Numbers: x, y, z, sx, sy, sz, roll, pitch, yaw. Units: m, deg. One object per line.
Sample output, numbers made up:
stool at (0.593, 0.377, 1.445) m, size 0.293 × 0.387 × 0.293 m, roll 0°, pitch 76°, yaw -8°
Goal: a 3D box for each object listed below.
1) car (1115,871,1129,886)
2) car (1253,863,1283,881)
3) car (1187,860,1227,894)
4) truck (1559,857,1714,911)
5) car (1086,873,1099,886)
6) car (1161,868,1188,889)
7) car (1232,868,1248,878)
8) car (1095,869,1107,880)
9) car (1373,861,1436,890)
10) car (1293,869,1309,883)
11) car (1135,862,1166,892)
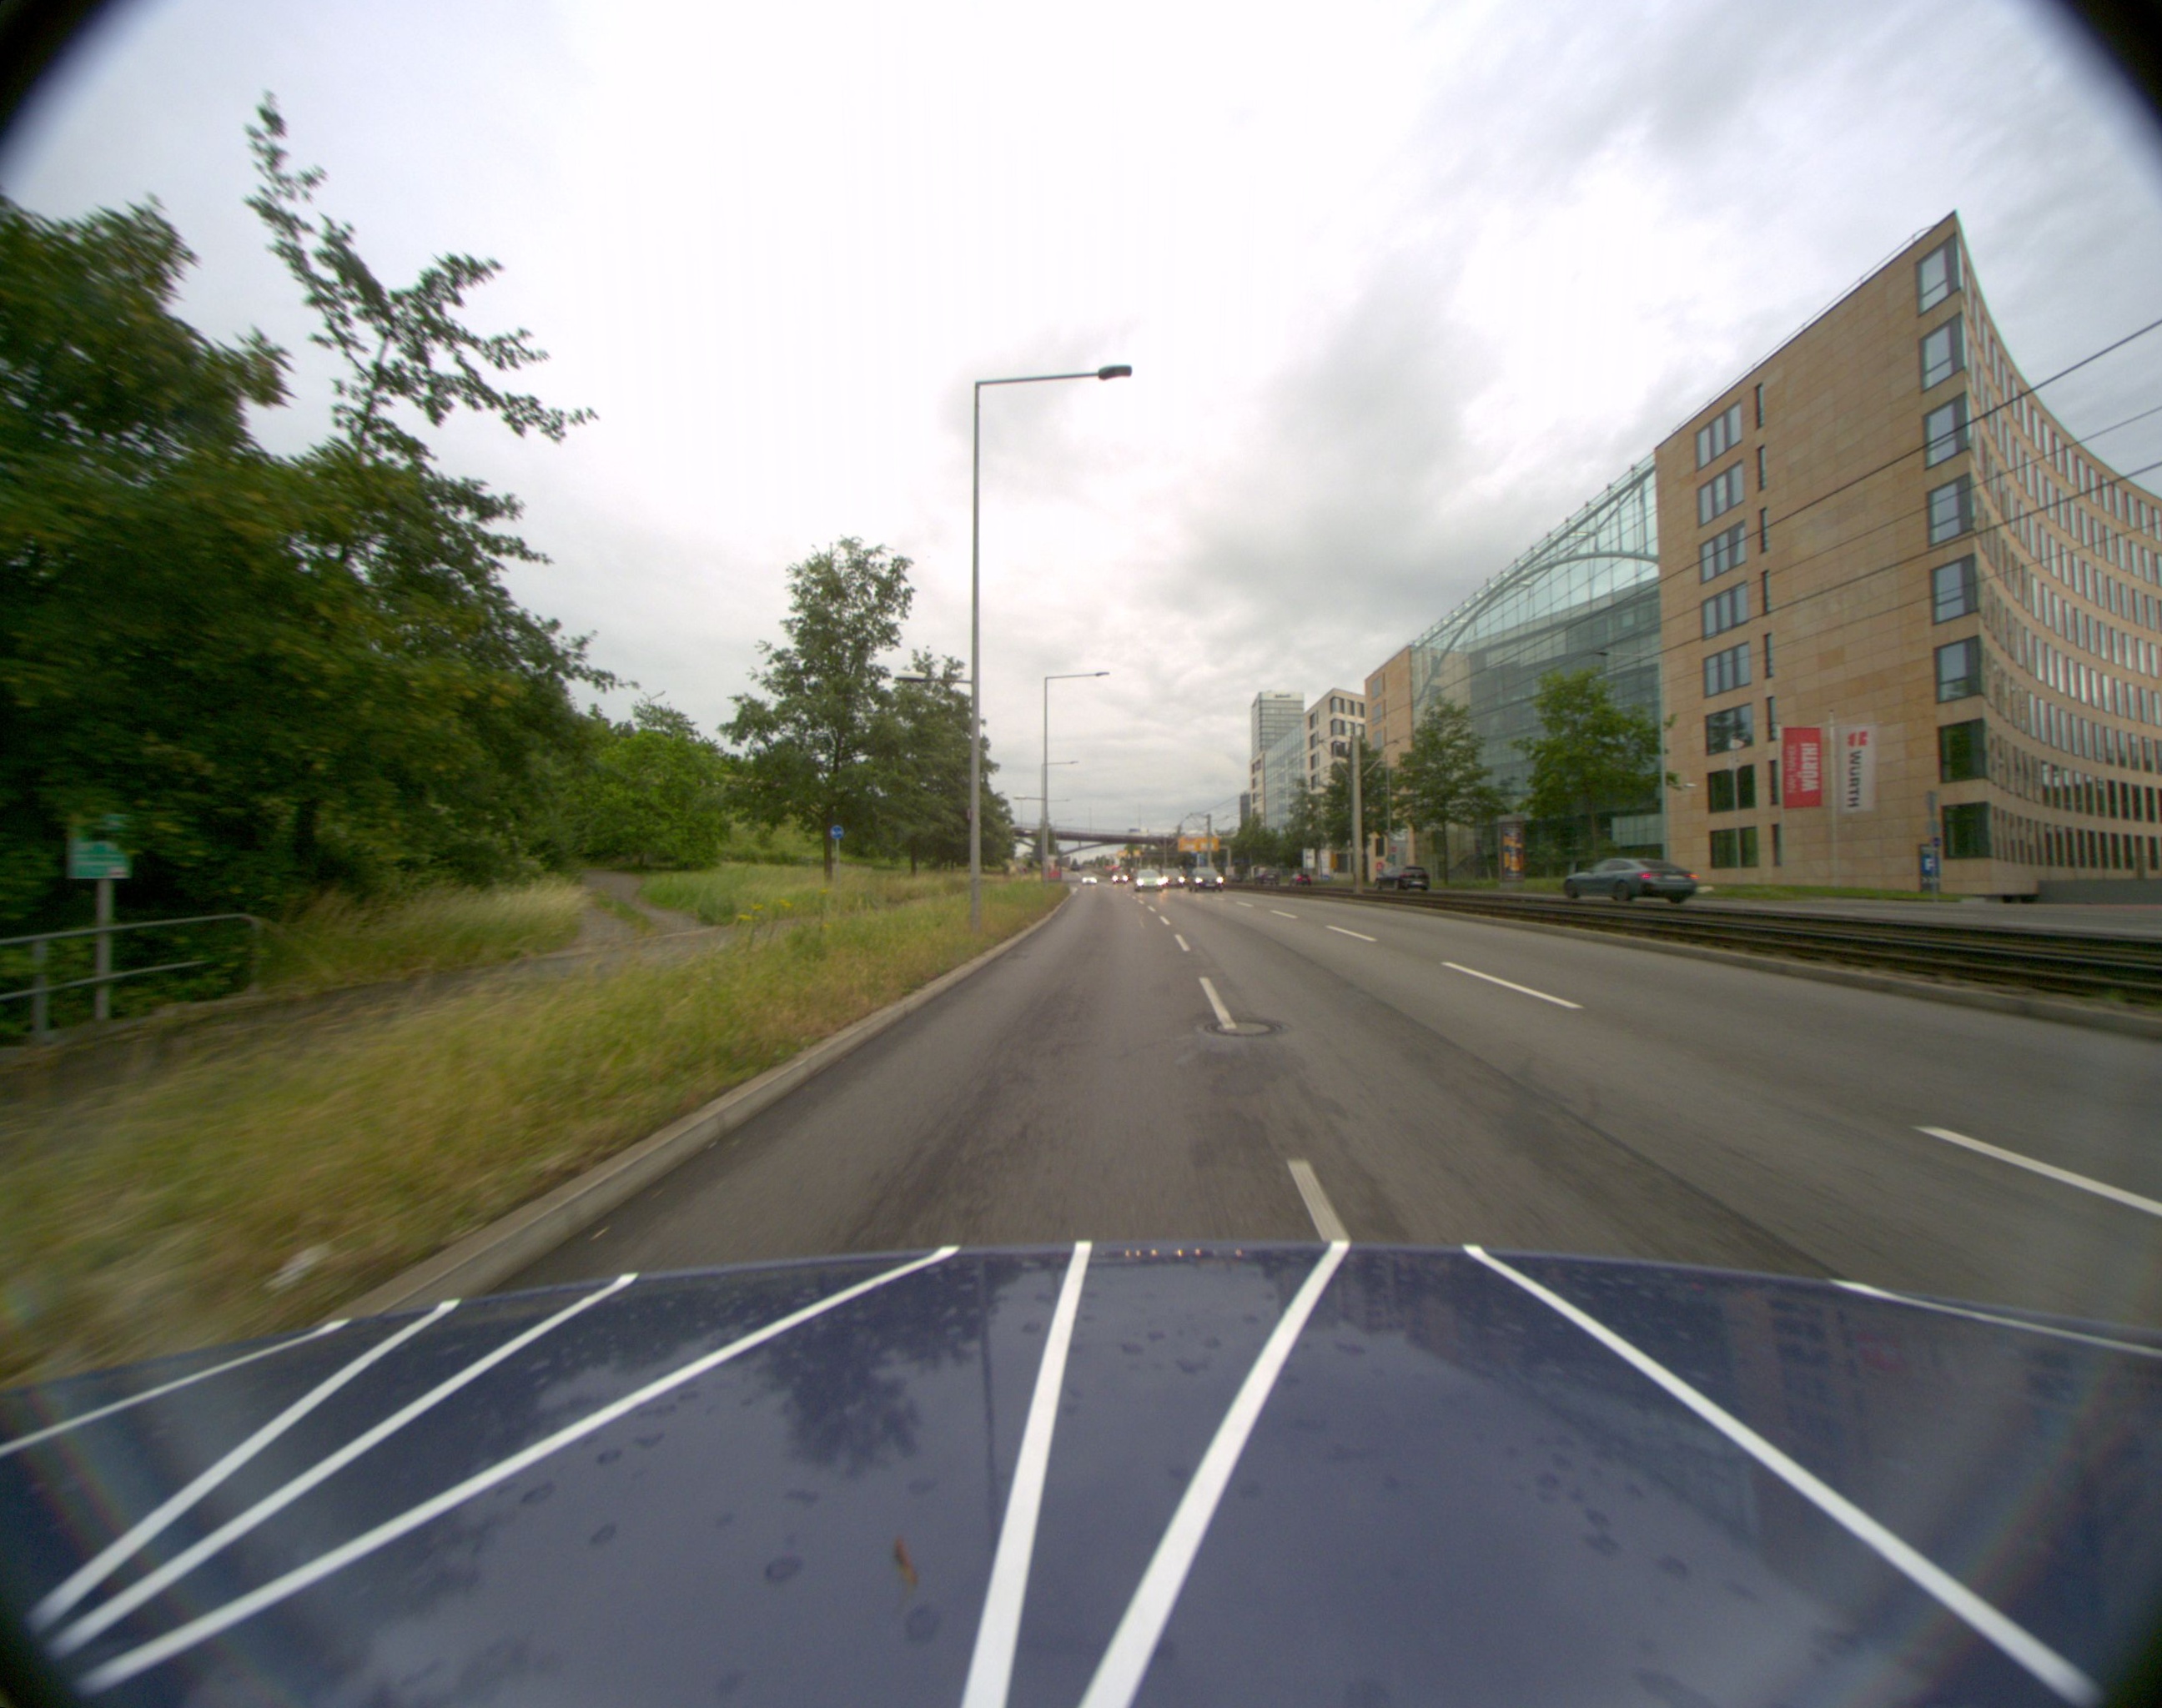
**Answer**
car at (5.768, 3.449, 106.560) m, size 1.794 × 1.858 × 4.377 m, roll -2°, pitch 0°, yaw 1°
car at (18.502, 1.777, 75.458) m, size 1.810 × 1.607 × 4.385 m, roll -2°, pitch 0°, yaw -1°
car at (7.676, 1.348, 46.714) m, size 1.794 × 1.858 × 4.377 m, roll -2°, pitch 0°, yaw 1°
truck at (18.439, 0.942, 25.545) m, size 1.946 × 1.559 × 4.593 m, roll 1°, pitch 1°, yaw 2°
car at (1.679, 3.685, 108.291) m, size 1.794 × 1.621 × 4.377 m, roll -2°, pitch 0°, yaw 1°
car at (7.831, 2.007, 63.688) m, size 1.794 × 1.535 × 4.377 m, roll -2°, pitch 0°, yaw 1°
car at (27.070, 3.228, 129.496) m, size 1.845 × 1.477 × 4.431 m, roll 2°, pitch -2°, yaw 1°
car at (3.319, 3.454, 125.840) m, size 1.794 × 1.621 × 4.378 m, roll -2°, pitch 0°, yaw 3°
car at (18.167, 1.187, 42.856) m, size 1.672 × 1.453 × 4.238 m, roll 1°, pitch 0°, yaw 0°
car at (25.238, 2.519, 87.113) m, size 1.670 × 1.453 × 4.243 m, roll -2°, pitch 0°, yaw 16°
car at (4.721, 1.562, 52.292) m, size 1.794 × 1.858 × 4.377 m, roll -2°, pitch 0°, yaw 1°
